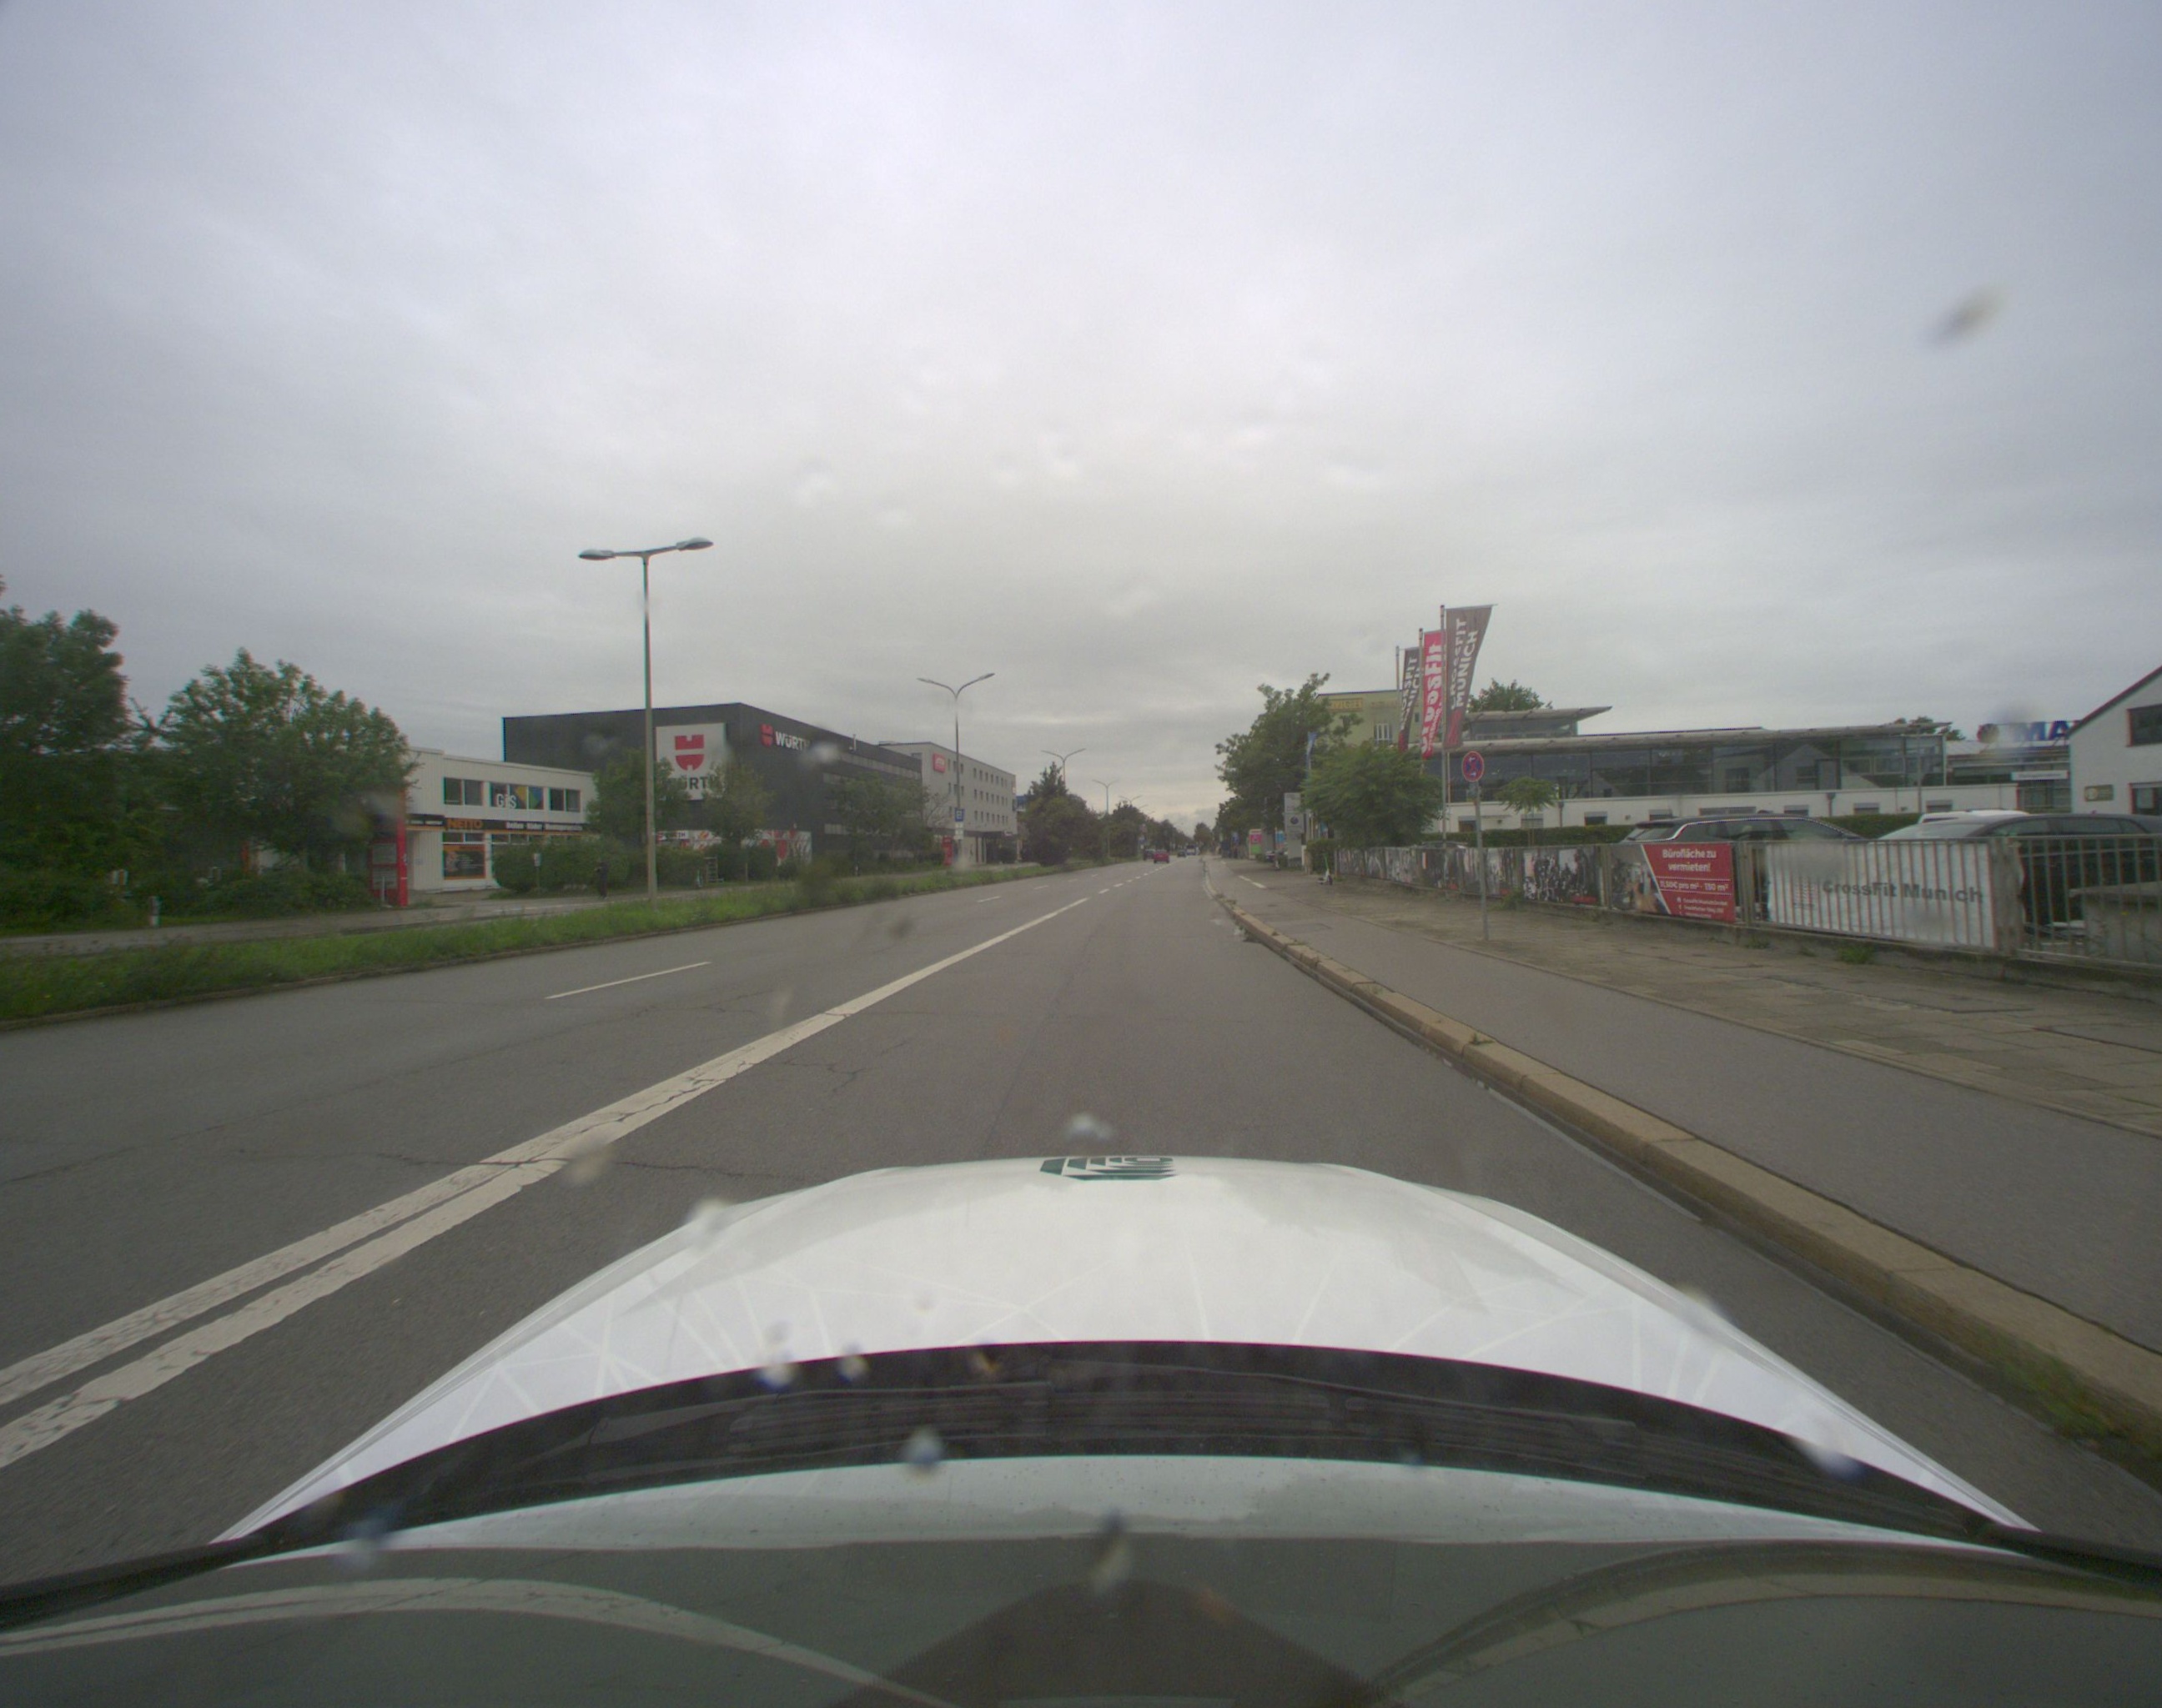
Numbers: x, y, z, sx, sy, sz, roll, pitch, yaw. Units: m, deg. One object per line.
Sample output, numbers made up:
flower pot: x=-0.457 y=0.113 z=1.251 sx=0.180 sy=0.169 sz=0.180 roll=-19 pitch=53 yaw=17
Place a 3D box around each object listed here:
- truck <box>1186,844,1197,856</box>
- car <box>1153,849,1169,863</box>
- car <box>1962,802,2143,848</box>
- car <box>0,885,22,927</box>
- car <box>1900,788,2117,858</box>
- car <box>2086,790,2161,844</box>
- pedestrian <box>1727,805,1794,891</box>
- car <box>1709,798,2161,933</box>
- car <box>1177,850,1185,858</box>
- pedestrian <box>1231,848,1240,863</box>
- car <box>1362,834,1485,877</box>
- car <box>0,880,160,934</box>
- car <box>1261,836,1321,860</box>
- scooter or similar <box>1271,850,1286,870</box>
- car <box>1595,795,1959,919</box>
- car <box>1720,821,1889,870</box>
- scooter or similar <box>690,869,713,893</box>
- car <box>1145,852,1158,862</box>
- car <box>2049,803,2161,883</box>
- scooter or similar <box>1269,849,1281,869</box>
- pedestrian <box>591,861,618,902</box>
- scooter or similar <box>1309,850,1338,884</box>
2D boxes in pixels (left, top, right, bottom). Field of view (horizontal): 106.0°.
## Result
truck: x=30.974 y=-1.072 z=228.402 sx=2.953 sy=3.285 sz=7.931 roll=-2 pitch=0 yaw=7
car: x=9.954 y=0.254 z=101.253 sx=1.853 sy=1.618 sz=4.006 roll=-2 pitch=0 yaw=6
car: x=35.931 y=-1.024 z=30.320 sx=1.911 sy=1.495 sz=4.232 roll=-3 pitch=0 yaw=7
car: x=-40.305 y=1.899 z=28.897 sx=3.958 sy=1.468 sz=1.870 roll=-2 pitch=-1 yaw=14
car: x=28.910 y=-0.894 z=25.668 sx=1.909 sy=1.903 sz=4.700 roll=-3 pitch=0 yaw=9
car: x=34.557 y=-1.190 z=25.039 sx=1.909 sy=1.668 sz=4.700 roll=-3 pitch=0 yaw=9
pedestrian: x=15.554 y=-0.140 z=18.663 sx=0.730 sy=1.901 sz=0.933 roll=-2 pitch=0 yaw=4
car: x=10.836 y=0.135 z=10.368 sx=4.075 sy=1.450 sz=1.931 roll=-2 pitch=0 yaw=6
car: x=21.194 y=-0.018 z=172.442 sx=1.793 sy=1.432 sz=4.008 roll=-2 pitch=0 yaw=7
pedestrian: x=19.320 y=0.164 z=101.859 sx=0.755 sy=1.728 sz=0.896 roll=-6 pitch=0 yaw=3
car: x=13.029 y=0.046 z=31.158 sx=3.991 sy=1.460 sz=1.797 roll=-2 pitch=0 yaw=8
car: x=-30.367 y=1.568 z=24.211 sx=3.969 sy=1.420 sz=1.872 roll=-2 pitch=0 yaw=4
car: x=18.354 y=-0.530 z=71.178 sx=4.593 sy=1.706 sz=1.999 roll=-4 pitch=-1 yaw=-13
scooter or similar: x=12.408 y=0.393 z=51.125 sx=0.494 sy=1.204 sz=1.429 roll=-5 pitch=-1 yaw=-1
car: x=11.004 y=0.051 z=13.182 sx=4.075 sy=1.726 sz=1.931 roll=-2 pitch=0 yaw=6
car: x=23.362 y=-0.276 z=26.573 sx=1.909 sy=1.387 sz=4.631 roll=-2 pitch=0 yaw=9
scooter or similar: x=-20.928 y=1.484 z=44.955 sx=0.443 sy=1.227 sz=1.390 roll=-2 pitch=0 yaw=7
car: x=10.800 y=0.413 z=124.491 sx=1.793 sy=1.432 sz=4.008 roll=-2 pitch=0 yaw=7
car: x=21.223 y=-0.242 z=15.290 sx=1.906 sy=1.493 sz=4.127 roll=-2 pitch=0 yaw=15
scooter or similar: x=12.712 y=0.323 z=53.377 sx=0.493 sy=1.204 sz=1.432 roll=-5 pitch=1 yaw=6
pedestrian: x=-21.596 y=1.236 z=36.906 sx=0.619 sy=1.830 sz=0.819 roll=-2 pitch=0 yaw=9
scooter or similar: x=8.987 y=0.482 z=30.248 sx=0.396 sy=1.223 sz=1.637 roll=-5 pitch=-1 yaw=-4
